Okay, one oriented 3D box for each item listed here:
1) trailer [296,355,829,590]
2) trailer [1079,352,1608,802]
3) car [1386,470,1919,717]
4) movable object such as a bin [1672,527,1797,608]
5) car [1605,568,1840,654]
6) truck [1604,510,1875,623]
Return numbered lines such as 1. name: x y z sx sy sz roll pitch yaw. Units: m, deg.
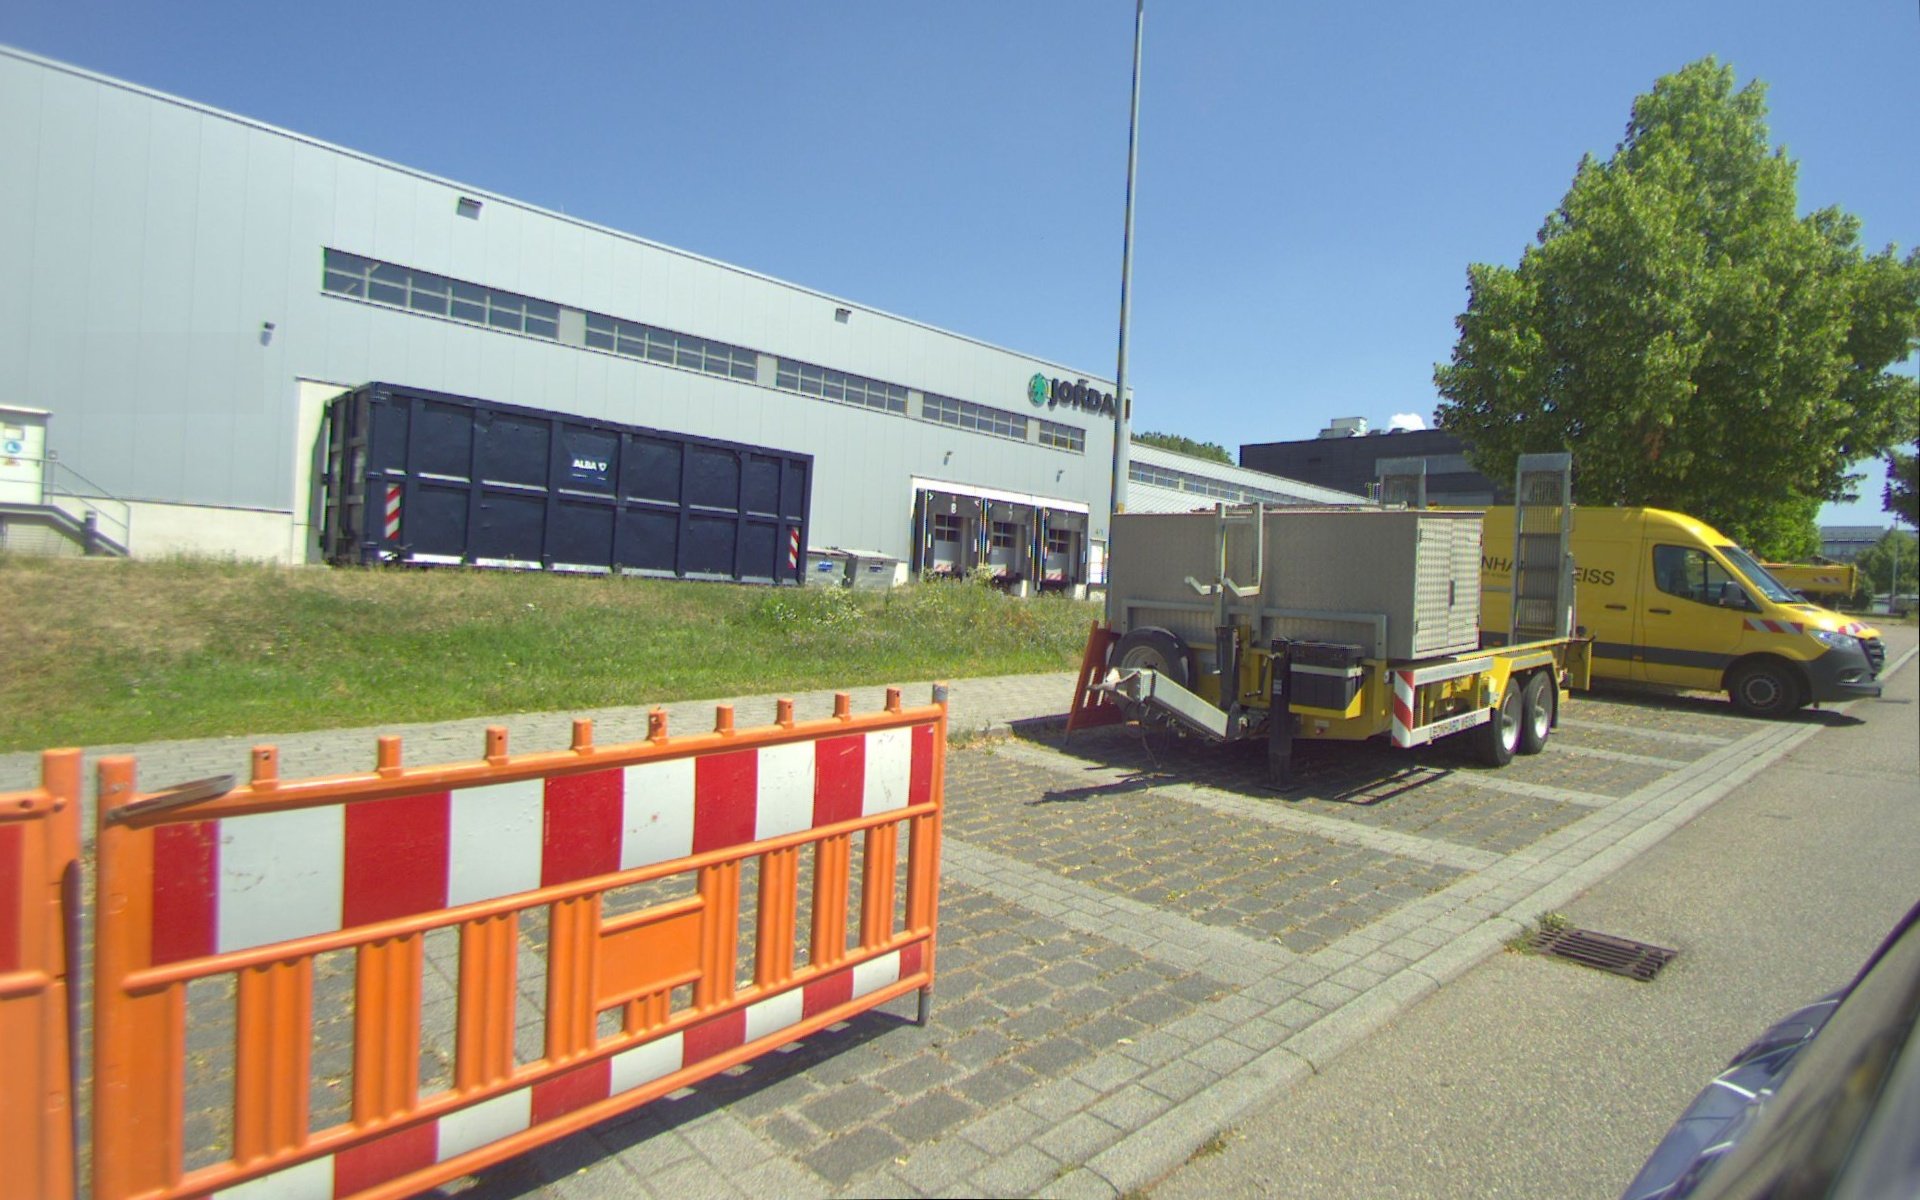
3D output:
1. trailer: -5.916 -1.638 16.023 7.282 2.452 2.663 5 -2 -41
2. trailer: 3.841 -0.244 9.411 2.657 2.892 5.435 5 3 43
3. car: 9.314 -0.216 14.176 1.965 2.766 5.790 2 2 -42
4. movable object such as a bin: 27.477 -1.139 35.791 6.459 2.613 1.998 -1 2 -39
5. car: 15.945 0.160 21.282 1.600 1.480 3.666 -1 4 -43
6. truck: 24.093 -1.119 31.495 6.403 3.174 2.556 3 4 43
